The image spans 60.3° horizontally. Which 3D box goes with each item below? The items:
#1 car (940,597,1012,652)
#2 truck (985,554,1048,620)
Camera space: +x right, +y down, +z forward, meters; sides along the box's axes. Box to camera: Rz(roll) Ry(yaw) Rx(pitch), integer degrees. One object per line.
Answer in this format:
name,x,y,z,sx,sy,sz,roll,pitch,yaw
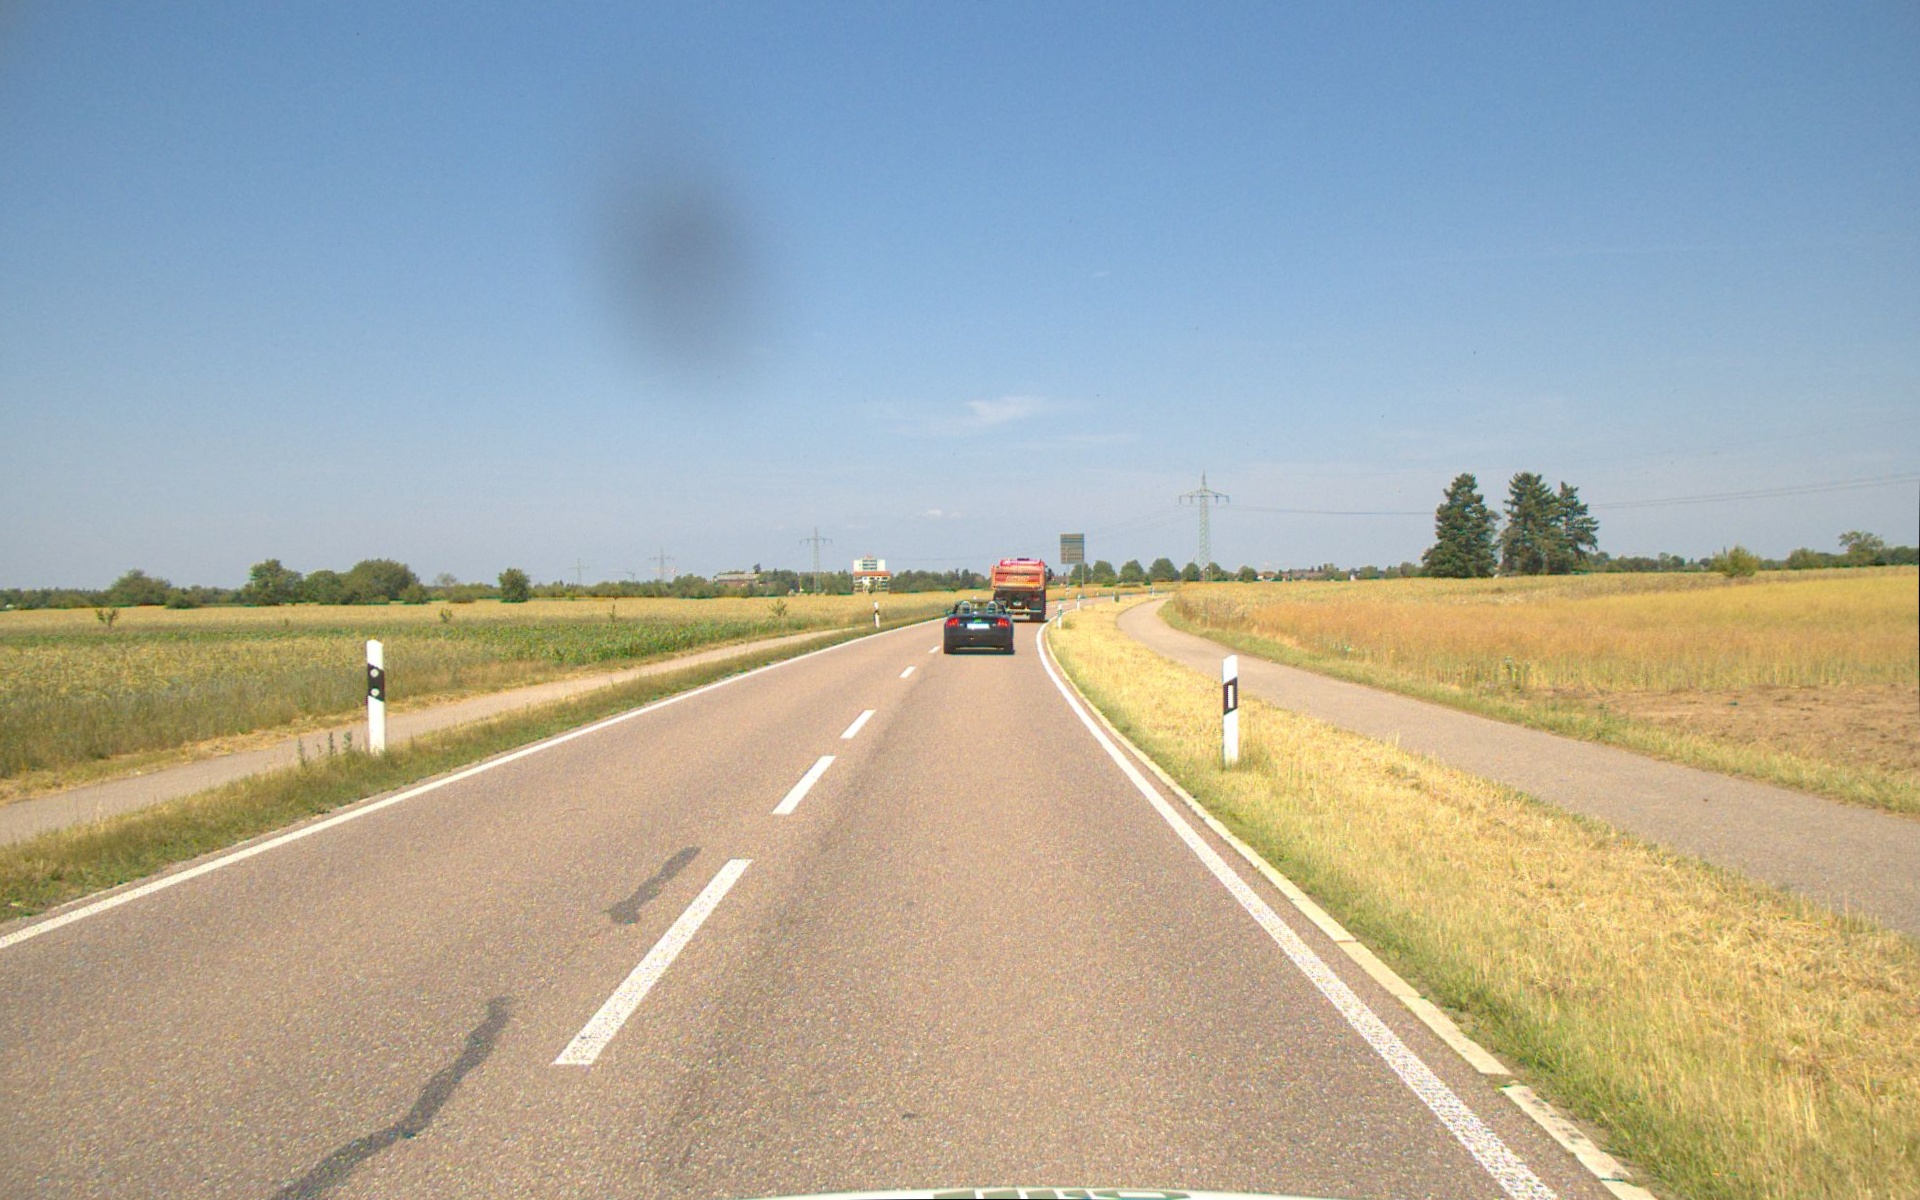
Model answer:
car,0.444,0.596,41.549,1.707,1.302,4.001,0,0,2
truck,2.880,-0.614,82.062,2.876,3.143,7.199,0,0,4
